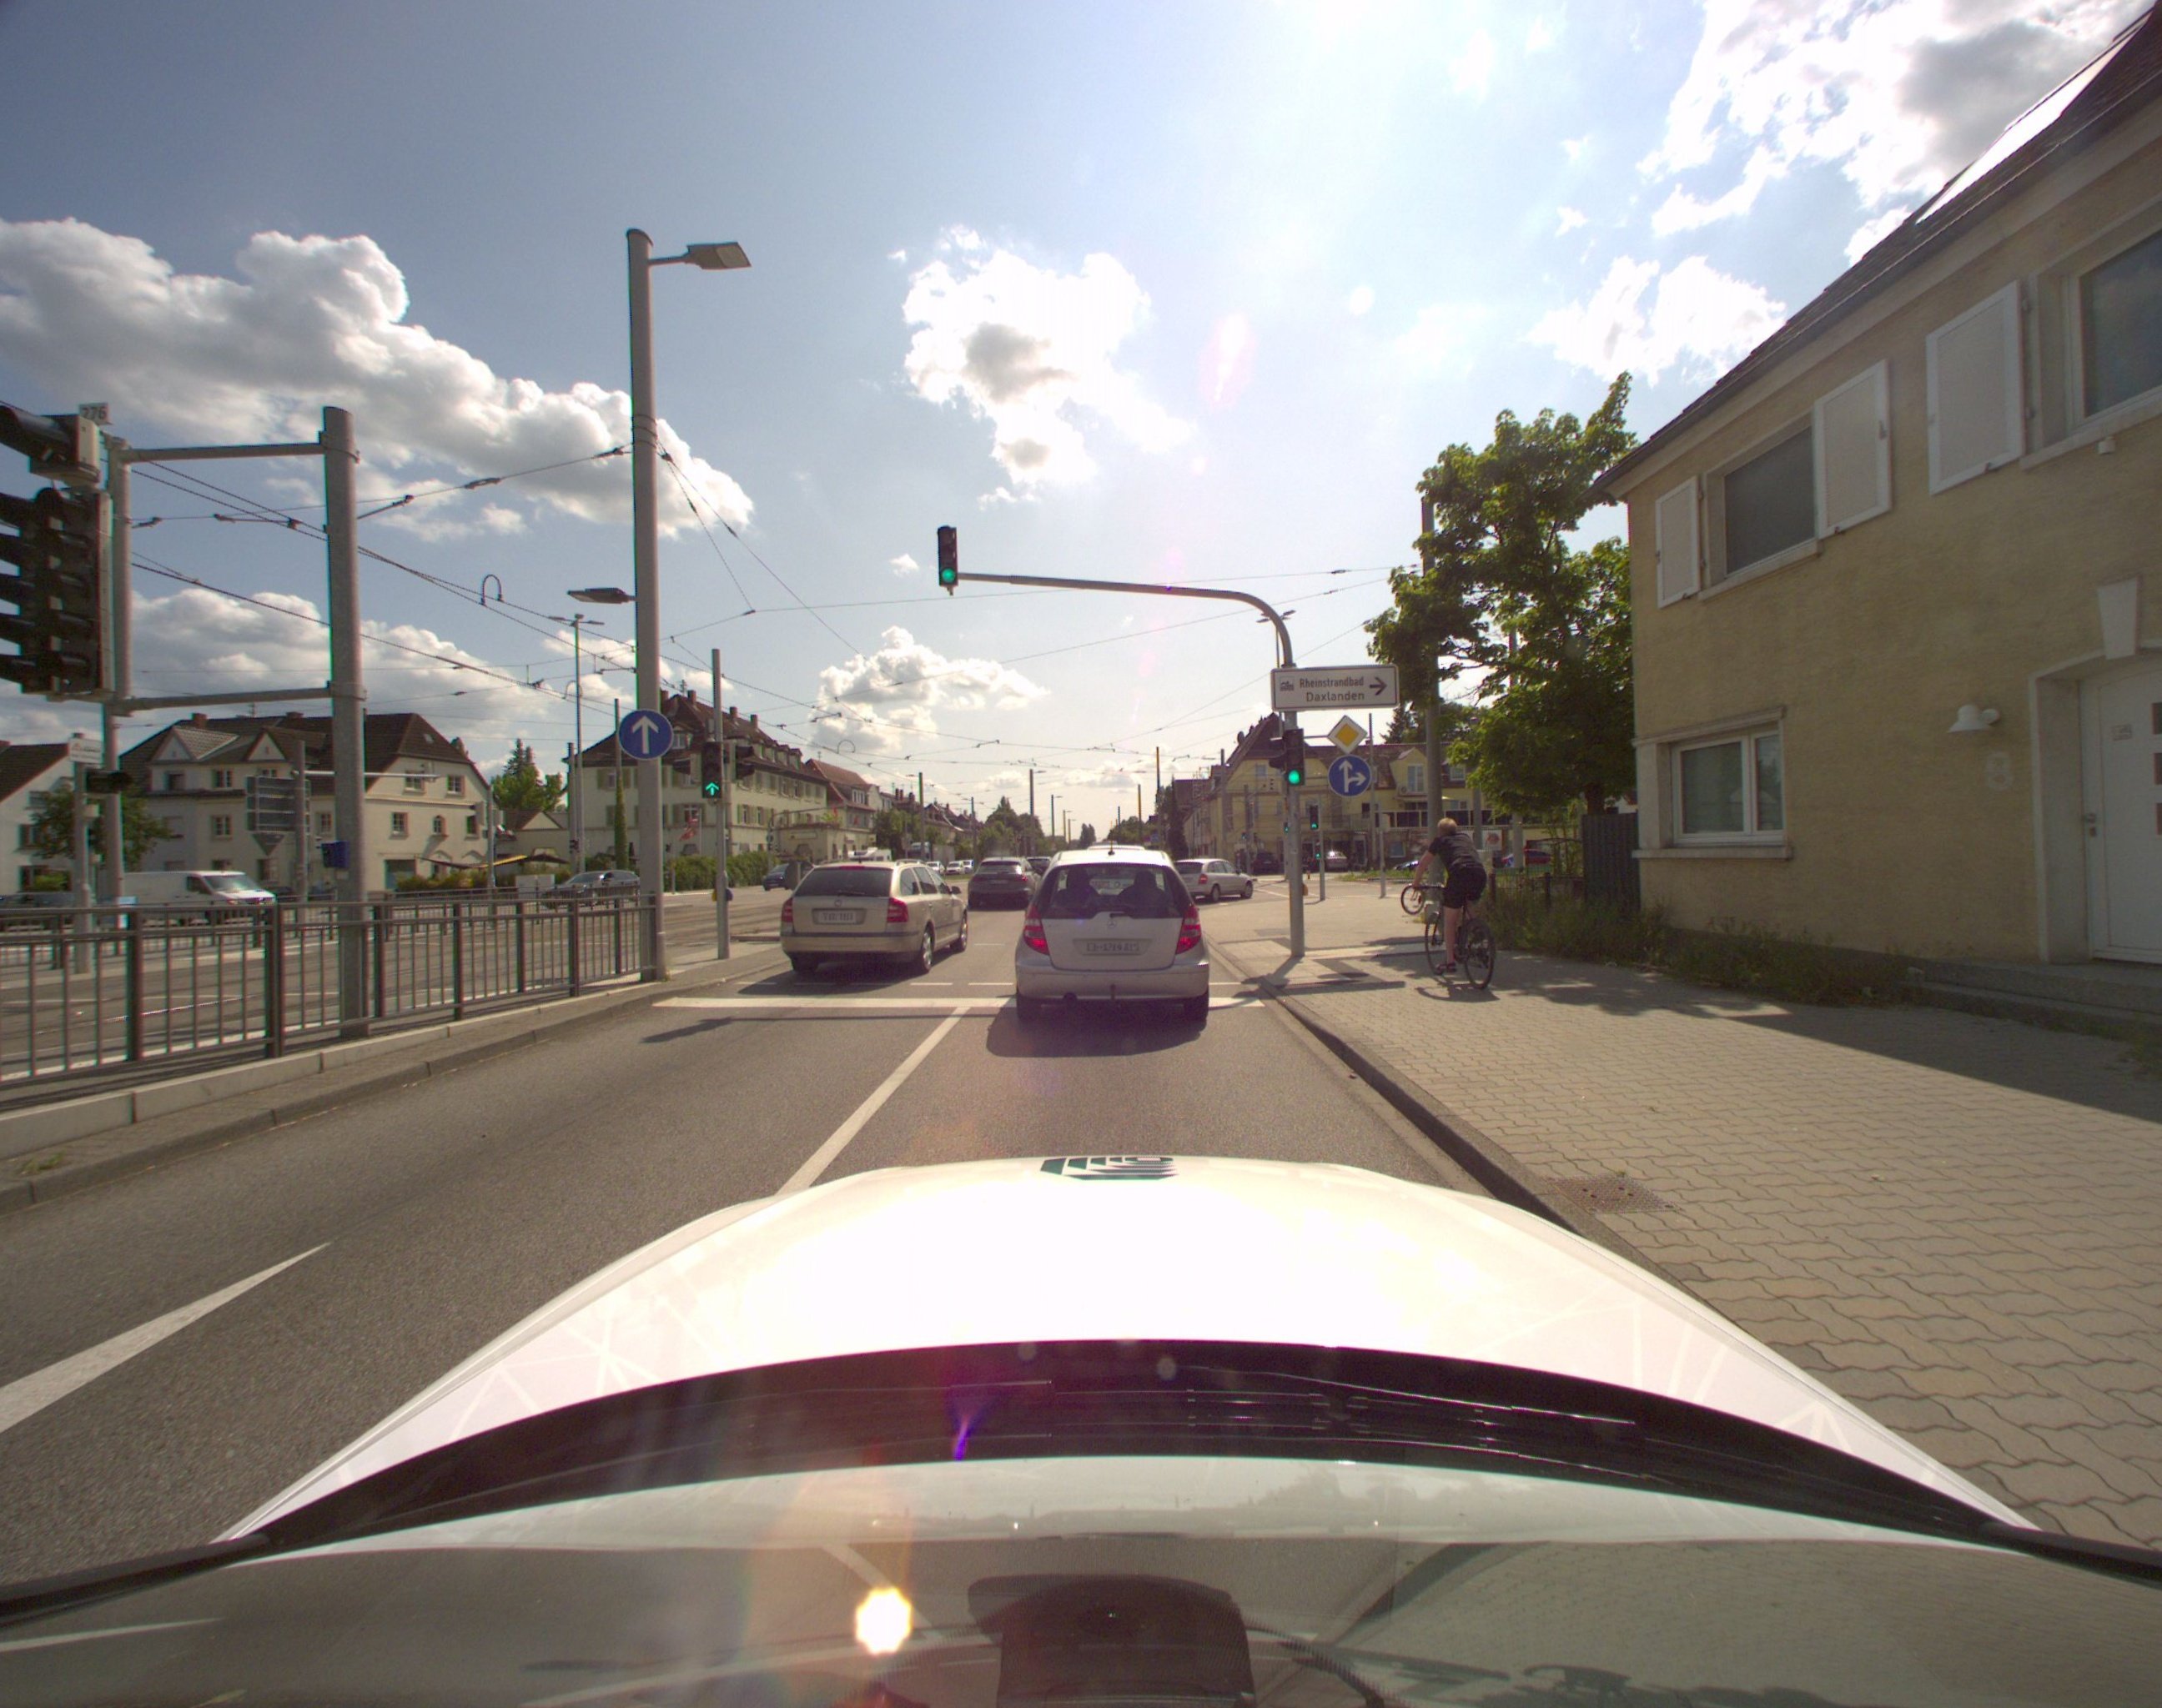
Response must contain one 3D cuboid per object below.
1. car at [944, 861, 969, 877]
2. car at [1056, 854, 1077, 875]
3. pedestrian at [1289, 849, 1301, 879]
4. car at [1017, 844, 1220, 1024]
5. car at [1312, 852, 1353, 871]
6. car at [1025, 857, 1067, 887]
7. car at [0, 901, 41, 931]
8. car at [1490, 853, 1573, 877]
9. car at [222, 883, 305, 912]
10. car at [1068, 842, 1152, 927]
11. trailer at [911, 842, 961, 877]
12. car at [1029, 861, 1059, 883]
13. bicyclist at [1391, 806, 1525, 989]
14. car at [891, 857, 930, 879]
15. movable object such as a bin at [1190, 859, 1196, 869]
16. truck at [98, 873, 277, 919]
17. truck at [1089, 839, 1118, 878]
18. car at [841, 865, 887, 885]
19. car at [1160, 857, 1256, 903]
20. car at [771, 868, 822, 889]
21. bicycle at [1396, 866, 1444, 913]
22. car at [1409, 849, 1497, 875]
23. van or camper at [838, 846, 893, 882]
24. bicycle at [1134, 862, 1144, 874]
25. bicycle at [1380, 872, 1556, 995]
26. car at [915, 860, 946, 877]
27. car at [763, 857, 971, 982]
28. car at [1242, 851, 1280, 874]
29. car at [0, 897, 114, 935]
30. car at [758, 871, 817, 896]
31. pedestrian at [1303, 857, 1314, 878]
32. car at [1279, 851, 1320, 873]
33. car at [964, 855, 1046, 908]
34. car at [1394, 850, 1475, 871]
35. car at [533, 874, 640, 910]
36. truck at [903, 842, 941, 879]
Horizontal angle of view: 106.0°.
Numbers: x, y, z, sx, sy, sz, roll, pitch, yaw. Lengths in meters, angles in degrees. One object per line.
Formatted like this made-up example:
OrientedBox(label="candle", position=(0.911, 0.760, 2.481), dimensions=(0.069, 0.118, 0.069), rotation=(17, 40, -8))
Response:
OrientedBox(label="car", position=(-14.184, 1.692, 93.039), dimensions=(1.787, 1.637, 4.475), rotation=(-3, -1, 3))
OrientedBox(label="car", position=(-1.247, 0.939, 73.013), dimensions=(1.846, 1.843, 3.917), rotation=(0, -1, 0))
OrientedBox(label="pedestrian", position=(11.592, 0.549, 44.169), dimensions=(0.544, 1.643, 0.402), rotation=(0, -1, 6))
OrientedBox(label="car", position=(0.302, 0.704, 8.917), dimensions=(1.725, 1.517, 4.015), rotation=(0, -1, -1))
OrientedBox(label="car", position=(18.336, 0.537, 59.631), dimensions=(1.860, 1.351, 4.132), rotation=(0, -1, 2))
OrientedBox(label="car", position=(-1.670, 0.886, 40.035), dimensions=(1.846, 1.388, 4.513), rotation=(0, -1, 0))
OrientedBox(label="car", position=(-61.882, 3.513, 45.919), dimensions=(3.971, 1.596, 2.001), rotation=(0, -1, 2))
OrientedBox(label="car", position=(28.163, 0.687, 50.991), dimensions=(4.304, 1.474, 1.738), rotation=(0, -1, -2))
OrientedBox(label="car", position=(-50.738, 2.658, 50.558), dimensions=(4.238, 1.668, 1.943), rotation=(0, -1, 20))
OrientedBox(label="car", position=(0.642, 0.657, 18.777), dimensions=(1.723, 1.762, 4.017), rotation=(0, -1, 1))
OrientedBox(label="trailer", position=(-17.111, 0.560, 97.181), dimensions=(2.588, 3.821, 12.850), rotation=(-4, 0, 4))
OrientedBox(label="car", position=(-2.460, 1.192, 54.944), dimensions=(1.846, 1.388, 3.917), rotation=(0, -1, 0))
OrientedBox(label="bicyclist", position=(3.998, 0.435, 8.727), dimensions=(0.826, 1.794, 1.083), rotation=(-3, 0, -3))
OrientedBox(label="car", position=(-14.866, 1.206, 71.300), dimensions=(1.985, 1.776, 4.883), rotation=(-3, 0, 4))
OrientedBox(label="movable object such as a bin", position=(10.457, 0.910, 76.033), dimensions=(0.466, 0.947, 0.558), rotation=(-2, -1, 1))
OrientedBox(label="truck", position=(-38.578, 1.780, 35.227), dimensions=(6.157, 1.922, 1.691), rotation=(0, -1, 4))
OrientedBox(label="truck", position=(1.500, 0.332, 55.913), dimensions=(1.846, 2.552, 5.853), rotation=(0, -1, 0))
OrientedBox(label="car", position=(-15.338, 1.472, 57.852), dimensions=(1.986, 1.352, 4.179), rotation=(0, -1, 2))
OrientedBox(label="car", position=(4.403, 0.813, 27.732), dimensions=(1.713, 1.403, 4.042), rotation=(1, 1, 33))
OrientedBox(label="car", position=(-19.200, 1.651, 55.154), dimensions=(1.677, 1.352, 4.350), rotation=(0, -1, 4))
OrientedBox(label="bicycle", position=(7.668, 0.776, 18.372), dimensions=(0.457, 1.018, 1.767), rotation=(-1, -1, 41))
OrientedBox(label="car", position=(21.481, 0.459, 47.135), dimensions=(4.304, 1.328, 1.738), rotation=(-2, -1, -2))
OrientedBox(label="van or camper", position=(-18.440, 0.842, 70.162), dimensions=(2.315, 2.930, 7.758), rotation=(-2, 0, 2))
OrientedBox(label="bicycle", position=(5.490, 1.345, 77.075), dimensions=(0.649, 1.117, 1.585), rotation=(0, -1, -5))
OrientedBox(label="bicycle", position=(4.014, 0.770, 8.665), dimensions=(0.826, 1.075, 1.969), rotation=(-3, 0, -3))
OrientedBox(label="car", position=(-14.971, 1.450, 81.237), dimensions=(1.986, 1.552, 4.179), rotation=(-5, -1, 2))
OrientedBox(label="car", position=(-2.756, 0.781, 11.504), dimensions=(1.724, 1.449, 4.124), rotation=(0, -1, 2))
OrientedBox(label="car", position=(13.067, 0.637, 59.277), dimensions=(1.986, 1.596, 4.132), rotation=(0, -1, 2))
OrientedBox(label="car", position=(-45.619, 2.693, 35.701), dimensions=(4.146, 1.552, 2.002), rotation=(-1, -2, 3))
OrientedBox(label="car", position=(-16.317, 1.611, 45.488), dimensions=(1.678, 1.352, 4.179), rotation=(0, -1, 2))
OrientedBox(label="pedestrian", position=(12.320, 0.744, 44.078), dimensions=(0.485, 1.136, 0.389), rotation=(0, -1, 6))
OrientedBox(label="car", position=(15.931, 0.600, 59.561), dimensions=(1.986, 1.596, 4.132), rotation=(0, -1, 2))
OrientedBox(label="car", position=(-2.252, 0.807, 25.272), dimensions=(1.909, 1.477, 4.565), rotation=(0, -1, 3))
OrientedBox(label="car", position=(22.025, 0.396, 50.789), dimensions=(4.304, 1.308, 1.738), rotation=(0, -1, -2))
OrientedBox(label="car", position=(-20.481, 1.533, 33.977), dimensions=(1.678, 1.352, 4.347), rotation=(0, -1, 2))
OrientedBox(label="truck", position=(-17.584, 0.673, 90.398), dimensions=(2.587, 3.821, 5.674), rotation=(-4, 0, 4))
